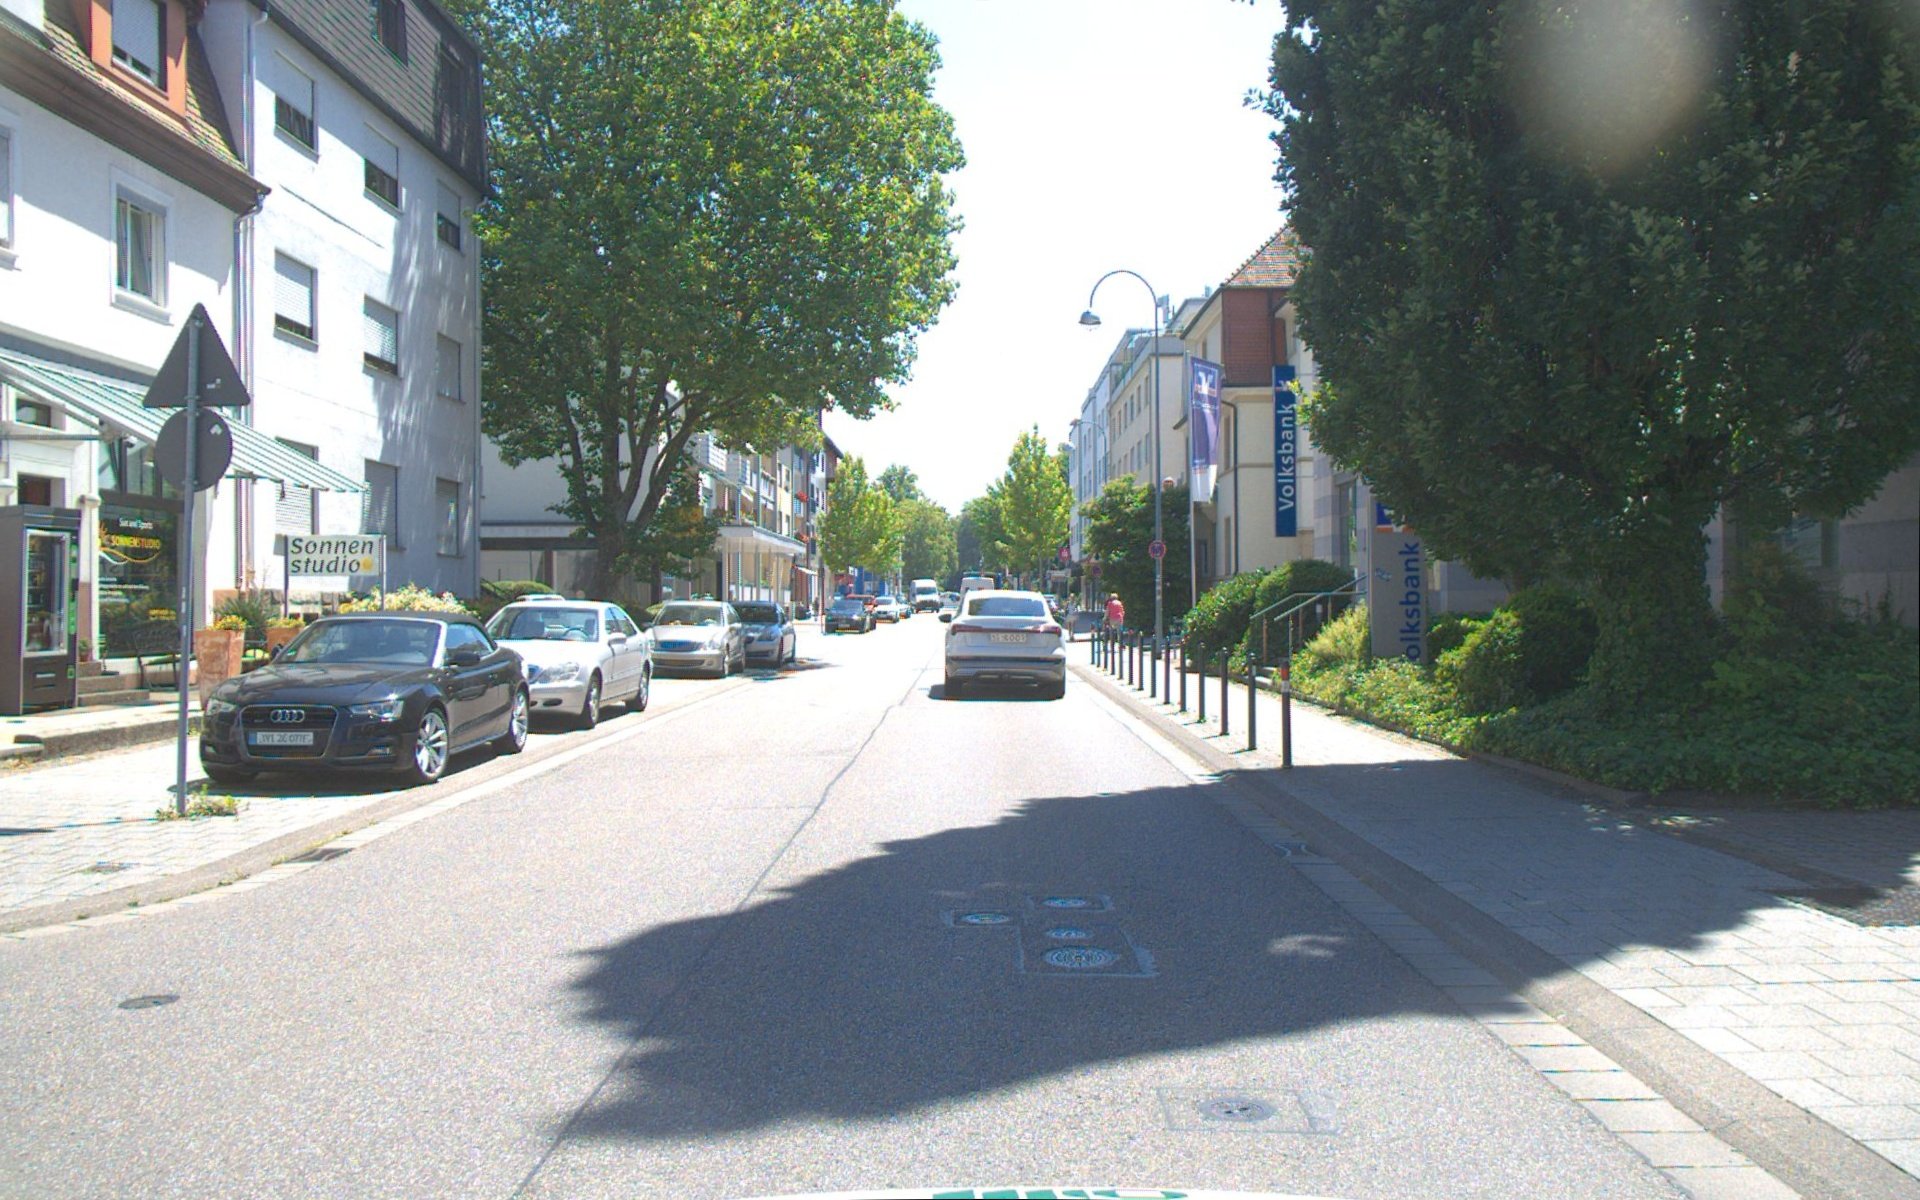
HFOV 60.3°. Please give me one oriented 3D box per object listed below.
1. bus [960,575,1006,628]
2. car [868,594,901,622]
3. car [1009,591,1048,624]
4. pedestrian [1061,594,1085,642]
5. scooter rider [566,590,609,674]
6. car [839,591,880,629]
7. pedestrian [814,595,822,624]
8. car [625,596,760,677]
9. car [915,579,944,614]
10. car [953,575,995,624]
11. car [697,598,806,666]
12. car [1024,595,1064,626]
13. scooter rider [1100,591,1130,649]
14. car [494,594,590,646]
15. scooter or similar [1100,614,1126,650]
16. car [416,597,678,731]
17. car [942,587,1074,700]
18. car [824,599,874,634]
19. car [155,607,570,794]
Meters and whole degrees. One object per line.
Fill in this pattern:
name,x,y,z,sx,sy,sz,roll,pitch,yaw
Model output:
bus,1.557,0.096,107.578,2.605,3.278,7.304,1,0,3
car,-4.692,0.495,103.785,1.716,1.646,4.401,2,0,2
car,3.800,0.411,92.634,1.818,1.704,4.535,-2,0,-2
pedestrian,4.015,0.639,58.763,0.686,1.655,0.783,-3,-1,-1
scooter rider,-7.240,0.608,32.186,0.576,1.603,0.877,2,0,2
car,-4.851,0.474,80.473,1.716,1.732,4.101,2,0,0
pedestrian,-8.612,0.555,100.173,0.387,1.765,0.444,-1,0,-11
car,-5.240,0.665,33.027,1.940,1.477,4.867,1,0,-1
car,-2.554,-0.272,136.266,1.996,2.676,7.103,-2,0,-3
car,0.763,-0.013,88.084,2.112,2.484,5.283,1,0,1
car,-4.814,0.694,38.920,1.940,1.477,5.150,1,0,-1
car,4.098,0.504,81.146,1.857,1.463,4.545,-1,0,2
scooter rider,4.292,0.551,45.846,0.701,1.576,0.770,-2,0,-2
car,-12.828,0.582,50.601,1.871,1.512,3.956,-1,0,-30
scooter or similar,4.289,0.895,46.440,0.649,0.980,0.754,-1,0,0
car,-5.109,0.716,21.302,1.940,1.477,5.358,1,0,1
car,0.697,0.644,26.716,1.953,1.661,3.999,1,0,-1
car,-4.936,0.708,73.997,1.857,1.442,5.047,2,0,0
car,-5.183,0.782,15.232,1.902,1.397,5.098,0,0,1
